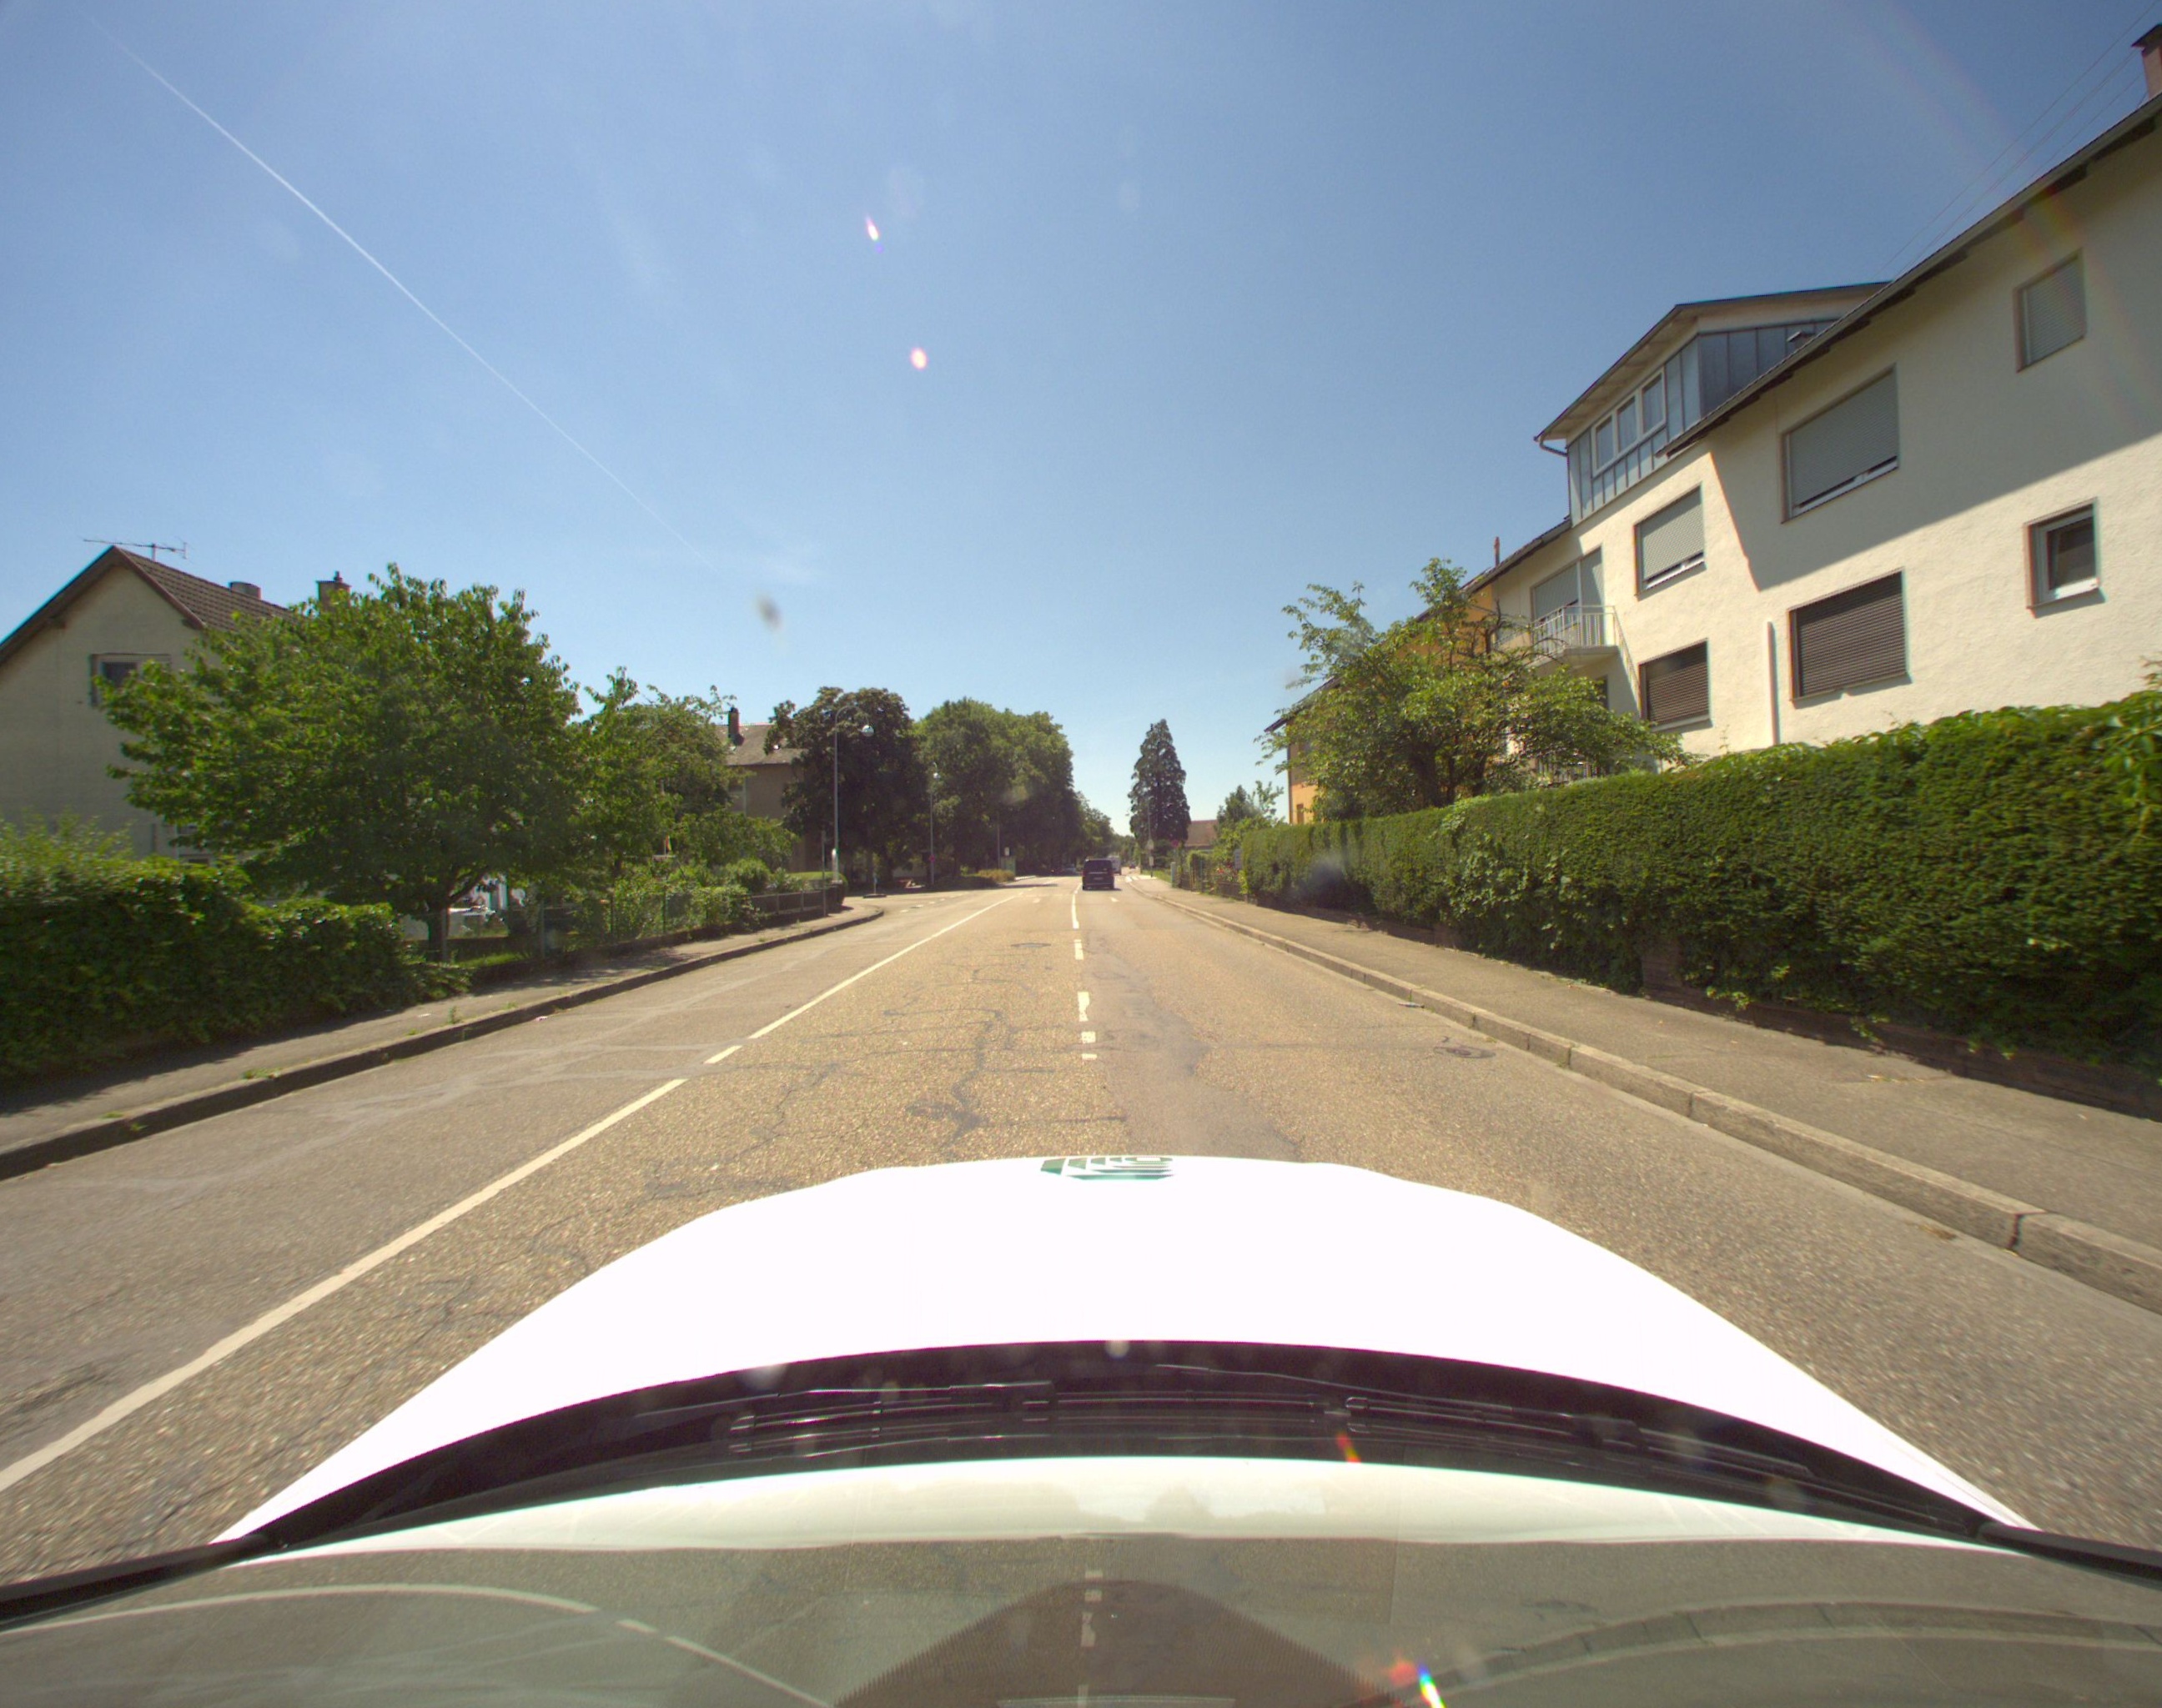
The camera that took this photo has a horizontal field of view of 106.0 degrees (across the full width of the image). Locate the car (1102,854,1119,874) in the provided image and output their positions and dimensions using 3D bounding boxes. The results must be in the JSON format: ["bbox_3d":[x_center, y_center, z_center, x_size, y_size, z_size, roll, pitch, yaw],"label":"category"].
[{"bbox_3d":[4.113,1.383,113.058,2.110,2.678,5.668,0,0,4],"label":"car"}]

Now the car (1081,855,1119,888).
[{"bbox_3d":[1.144,1.010,48.282,1.984,1.893,4.005,0,0,5],"label":"car"}]

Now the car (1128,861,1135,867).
[{"bbox_3d":[14.088,2.898,226.998,1.851,1.643,4.001,0,0,1],"label":"car"}]

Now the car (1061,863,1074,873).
[{"bbox_3d":[-2.011,2.116,121.511,1.683,1.460,3.642,0,0,3],"label":"car"}]

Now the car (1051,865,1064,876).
[{"bbox_3d":[-3.334,2.333,114.278,1.544,1.450,3.692,0,-1,2],"label":"car"}]
